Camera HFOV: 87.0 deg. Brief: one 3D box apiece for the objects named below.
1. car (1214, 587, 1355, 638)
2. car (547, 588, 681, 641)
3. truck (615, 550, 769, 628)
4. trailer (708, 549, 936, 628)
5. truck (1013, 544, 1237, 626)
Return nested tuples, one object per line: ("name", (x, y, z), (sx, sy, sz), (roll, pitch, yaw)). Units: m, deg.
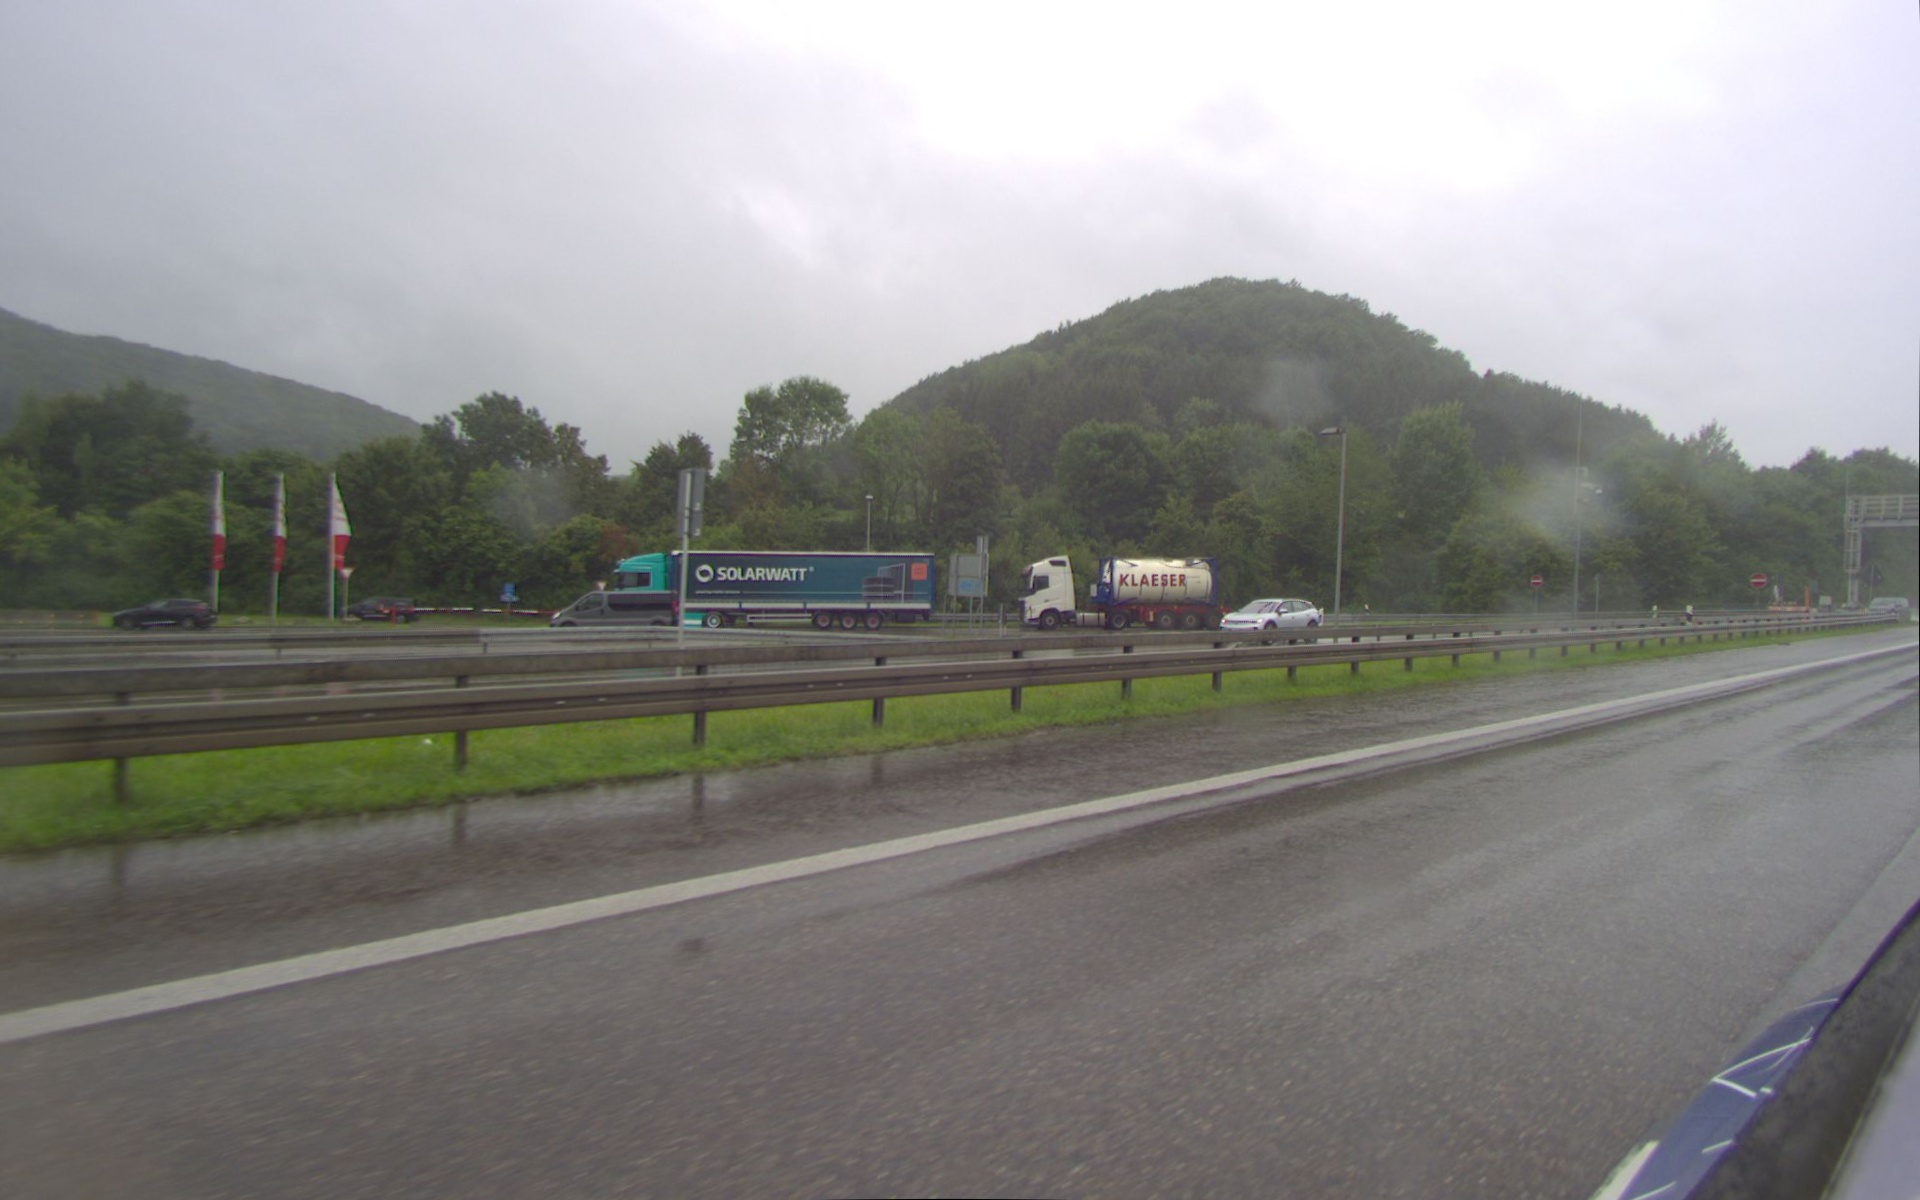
("car", (11.953, 0.412, 37.149), (5.555, 1.772, 2.000), (0, 0, -35))
("car", (-13.860, 0.561, 40.682), (4.948, 2.039, 2.004), (0, 0, -18))
("truck", (-13.764, -0.579, 52.402), (7.383, 3.916, 2.760), (0, 0, -6))
("trailer", (-7.135, -0.624, 53.060), (11.514, 3.950, 2.796), (0, 0, -6))
("truck", (8.893, -0.829, 54.934), (11.630, 4.310, 2.884), (0, 0, -7))
